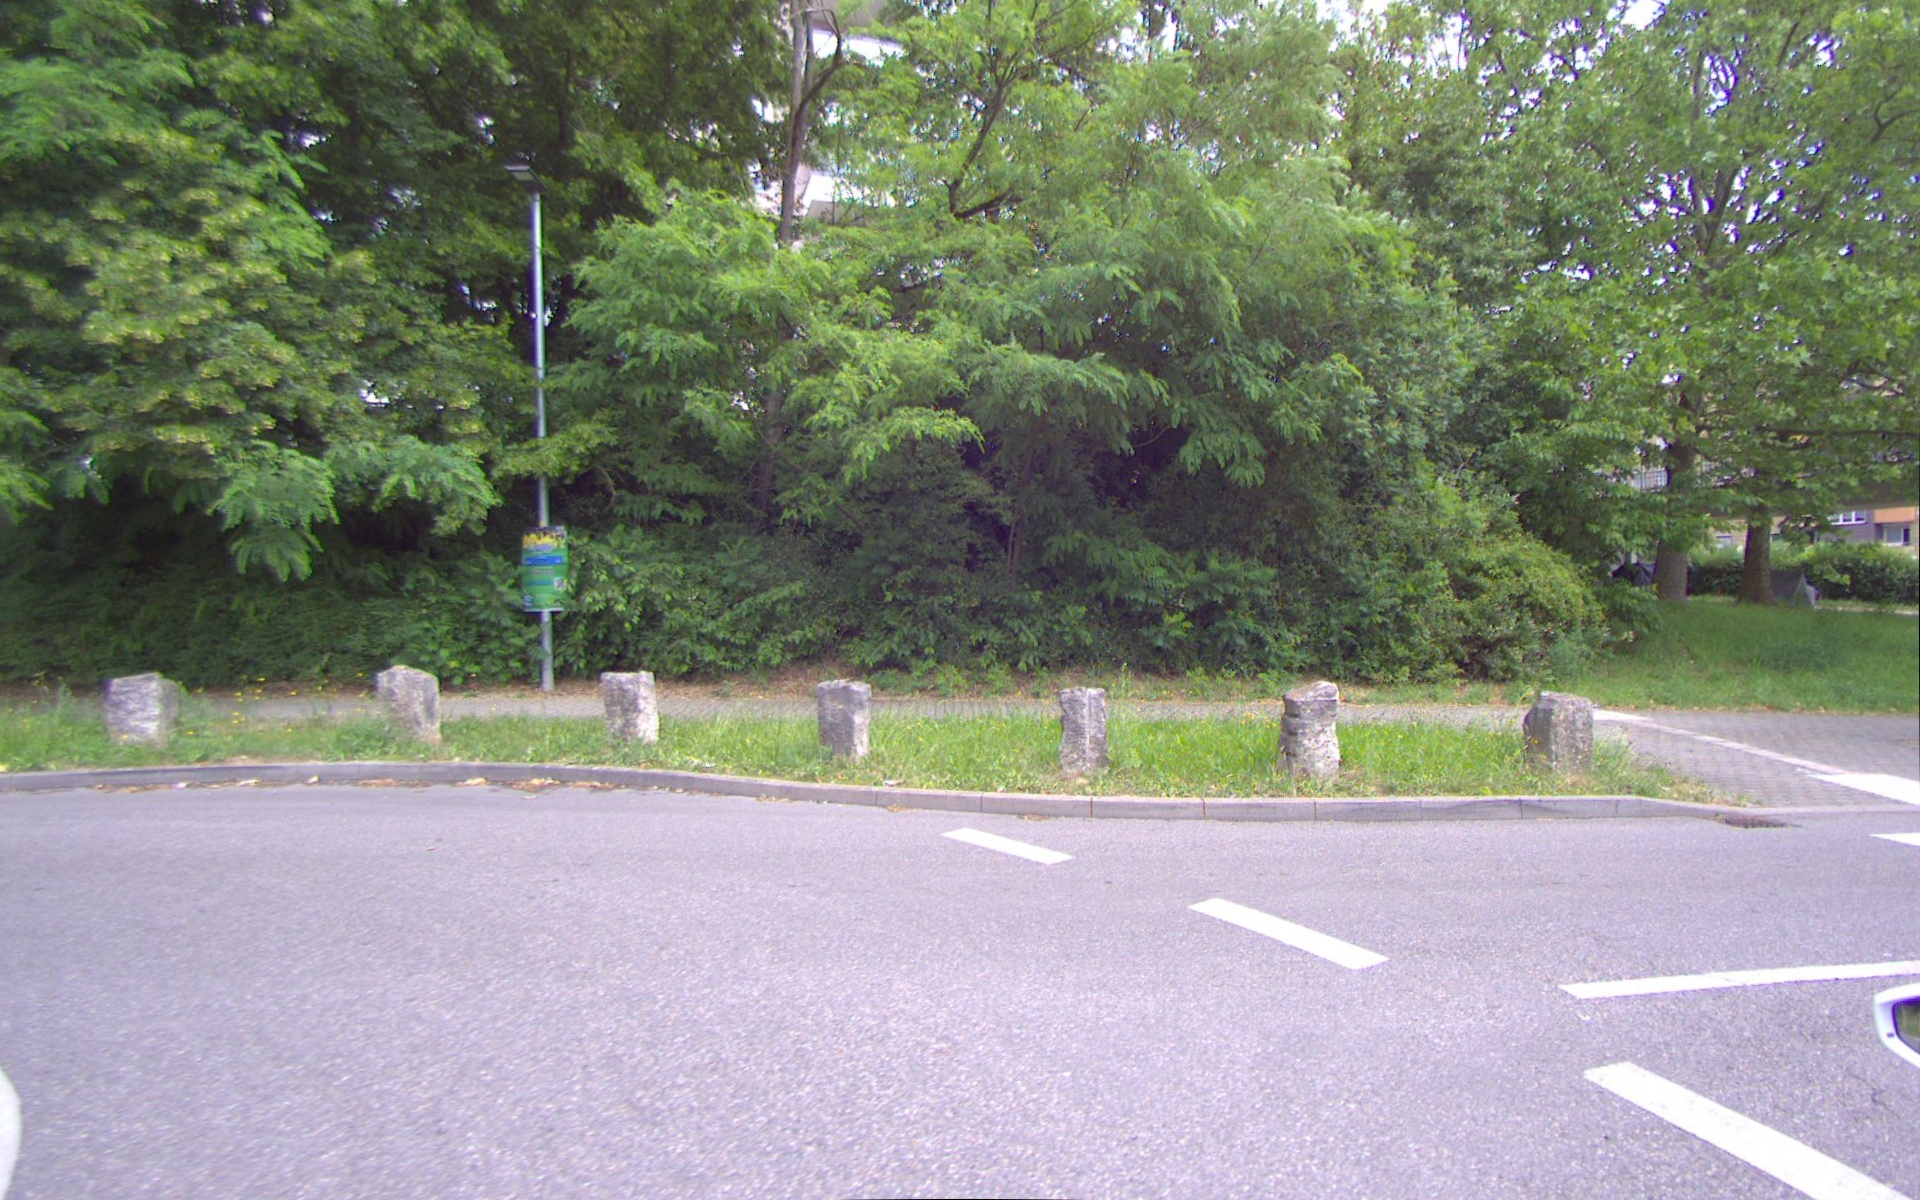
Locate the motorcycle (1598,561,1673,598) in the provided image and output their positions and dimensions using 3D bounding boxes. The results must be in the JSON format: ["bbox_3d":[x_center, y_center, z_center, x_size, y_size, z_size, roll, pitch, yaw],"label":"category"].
[{"bbox_3d":[23.718,-0.724,35.263,2.277,1.287,0.883,0,2,-15],"label":"motorcycle"}]

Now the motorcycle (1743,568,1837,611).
[{"bbox_3d":[25.091,-0.321,30.400,2.005,1.287,0.887,0,2,8],"label":"motorcycle"}]
